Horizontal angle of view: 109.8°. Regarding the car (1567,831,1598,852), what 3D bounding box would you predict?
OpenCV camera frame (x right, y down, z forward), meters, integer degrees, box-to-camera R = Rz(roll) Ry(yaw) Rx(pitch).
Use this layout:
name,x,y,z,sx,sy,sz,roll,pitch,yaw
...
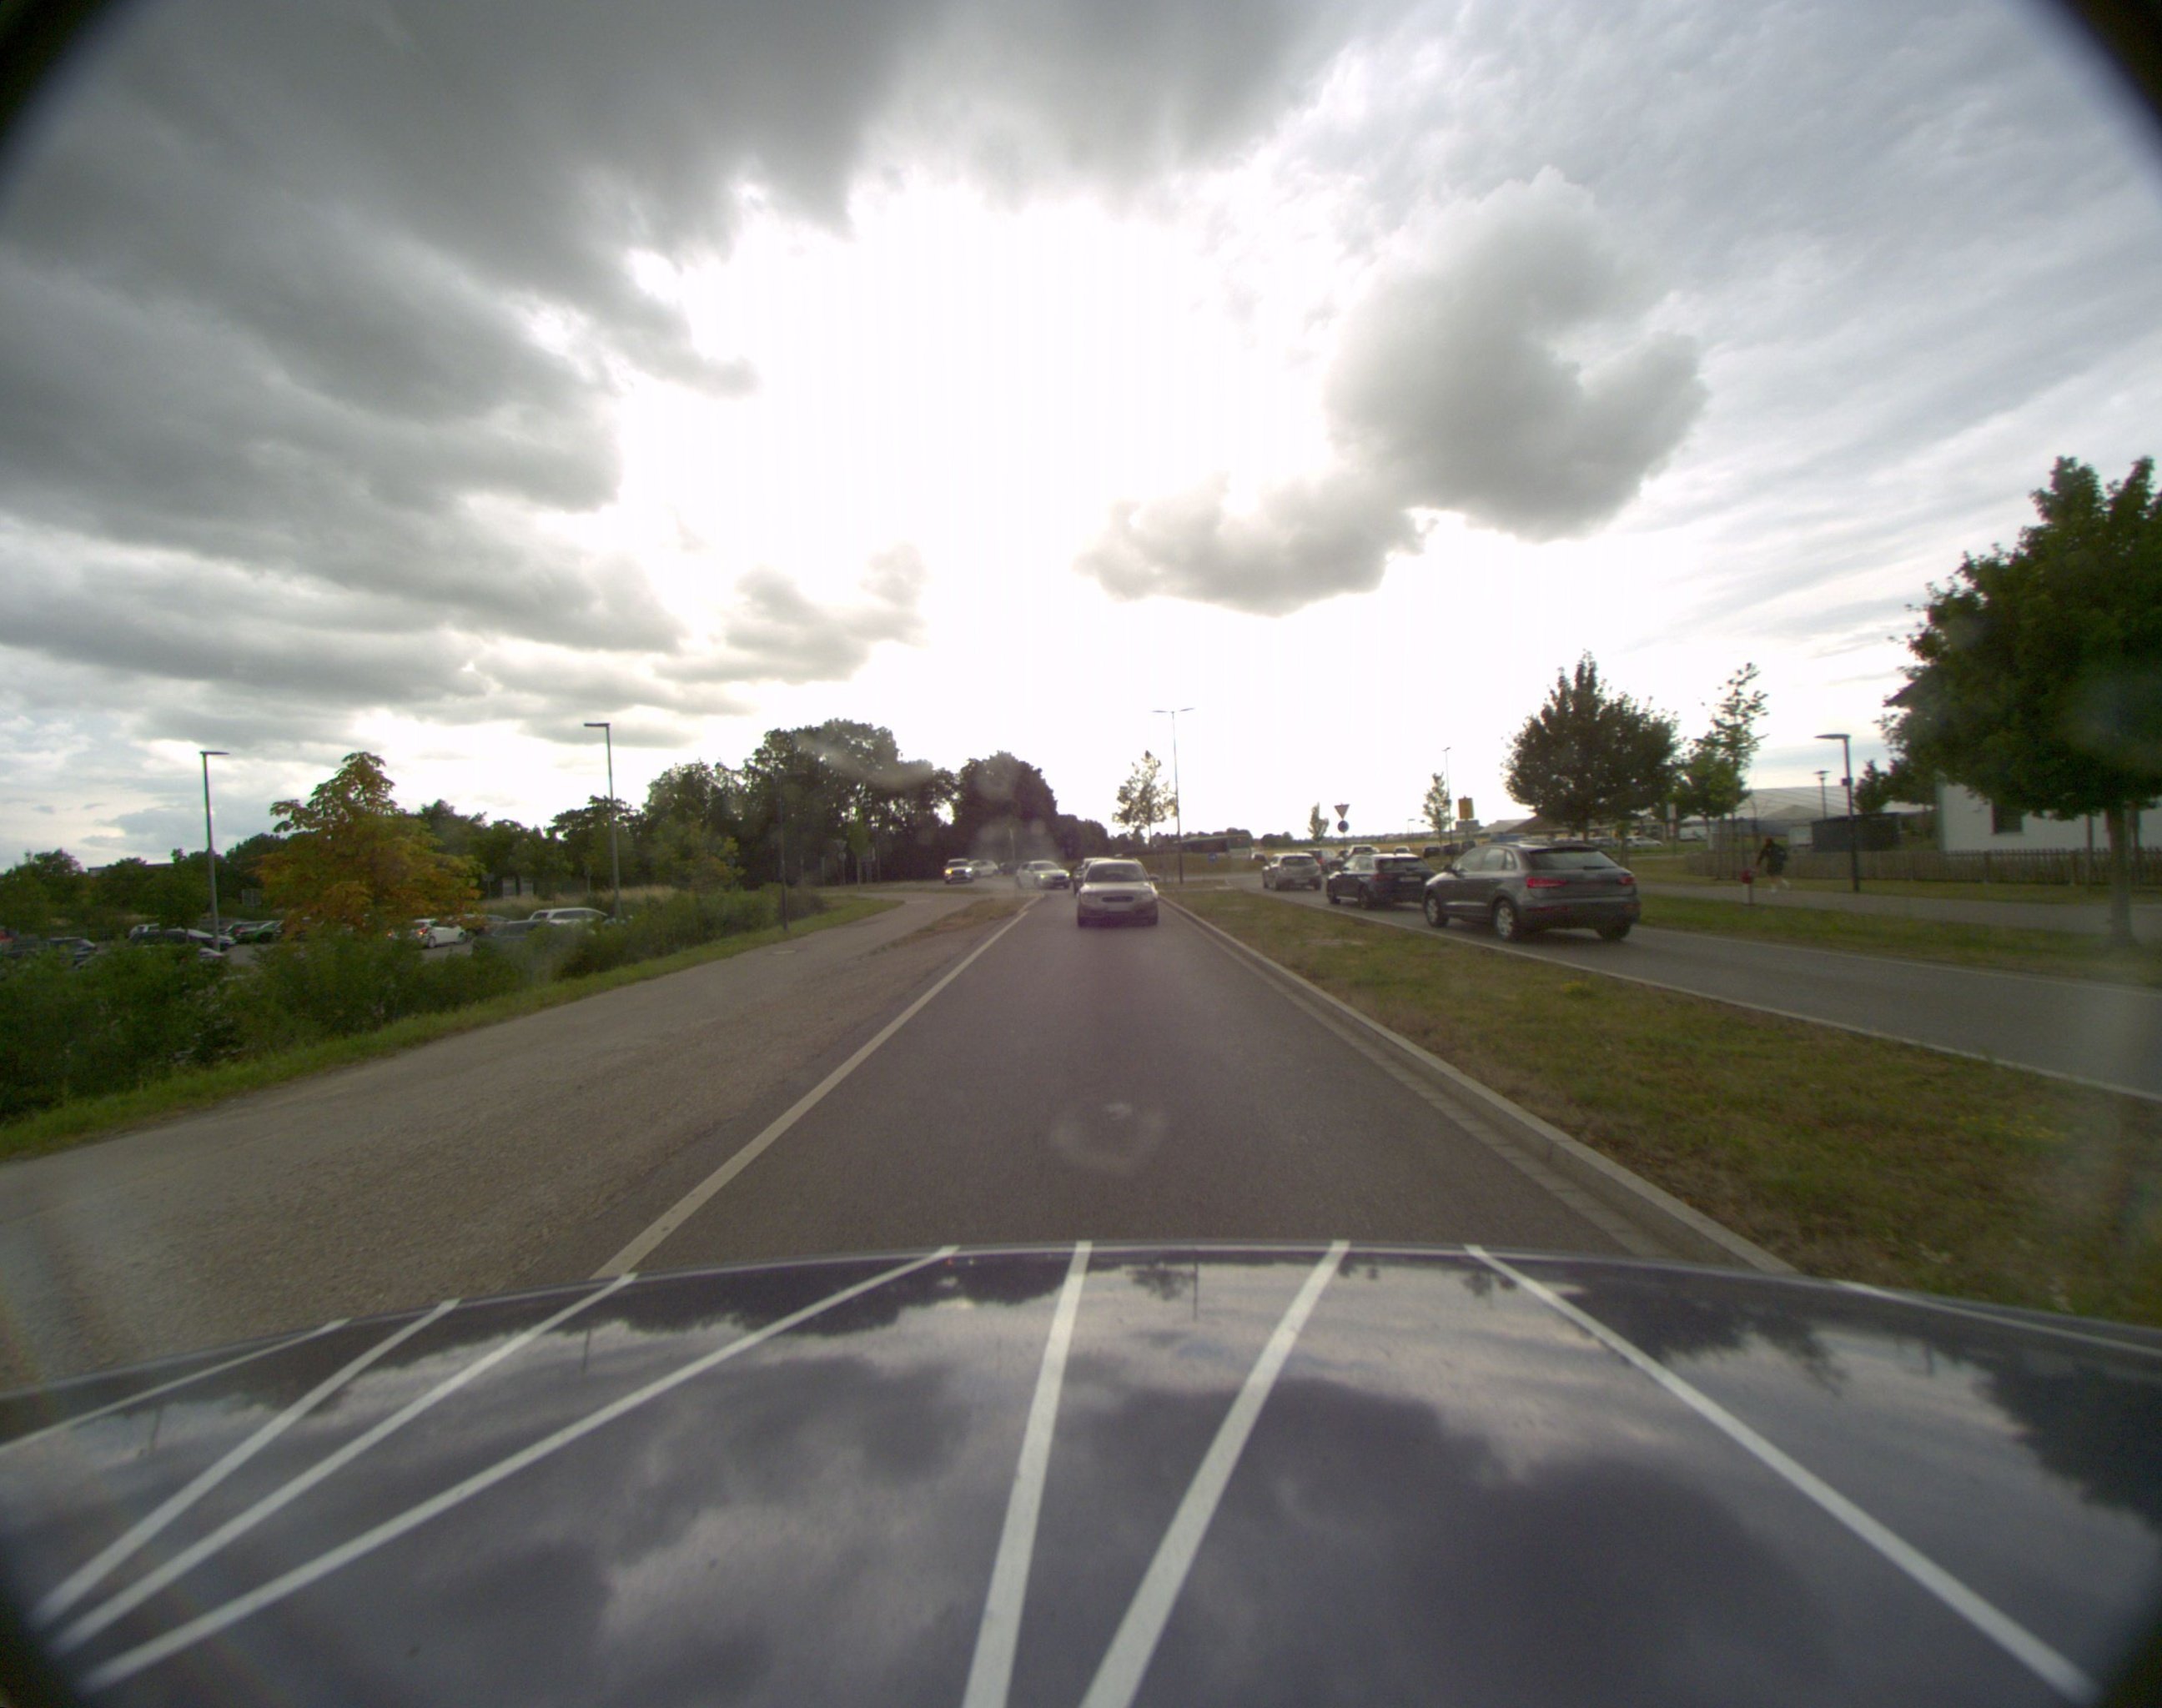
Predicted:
name,x,y,z,sx,sy,sz,roll,pitch,yaw
car,50.133,-1.218,76.087,2.227,2.002,4.007,-1,0,28

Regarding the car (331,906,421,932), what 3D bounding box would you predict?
name,x,y,z,sx,sy,sz,roll,pitch,yaw
car,-46.675,4.266,50.376,1.697,1.352,4.007,-1,0,28

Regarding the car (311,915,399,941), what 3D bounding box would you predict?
name,x,y,z,sx,sy,sz,roll,pitch,yaw
car,-49.485,5.026,51.875,1.697,1.352,4.007,-1,0,28

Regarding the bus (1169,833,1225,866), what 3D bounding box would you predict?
name,x,y,z,sx,sy,sz,roll,pitch,yaw
bus,12.255,-0.467,80.967,2.996,3.261,6.691,-2,0,-19

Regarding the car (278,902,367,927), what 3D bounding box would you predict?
name,x,y,z,sx,sy,sz,roll,pitch,yaw
car,-52.237,4.149,52.420,1.697,1.352,4.007,-1,0,28

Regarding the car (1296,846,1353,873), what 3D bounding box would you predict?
name,x,y,z,sx,sy,sz,roll,pitch,yaw
car,14.178,0.303,44.073,1.826,1.480,4.346,-1,0,37

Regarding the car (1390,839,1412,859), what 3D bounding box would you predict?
name,x,y,z,sx,sy,sz,roll,pitch,yaw
car,34.765,-0.562,82.414,1.995,2.002,4.007,-1,0,25

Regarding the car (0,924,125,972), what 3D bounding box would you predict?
name,x,y,z,sx,sy,sz,roll,pitch,yaw
car,-48.283,4.429,35.970,3.994,2.002,2.001,-1,0,9

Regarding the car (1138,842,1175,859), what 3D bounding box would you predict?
name,x,y,z,sx,sy,sz,roll,pitch,yaw
car,7.931,-0.408,79.555,1.994,1.674,4.008,-1,0,37

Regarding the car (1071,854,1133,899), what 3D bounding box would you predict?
name,x,y,z,sx,sy,sz,roll,pitch,yaw
car,0.757,0.857,31.262,1.871,1.578,5.059,-3,1,-6

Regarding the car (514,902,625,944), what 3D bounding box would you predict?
name,x,y,z,sx,sy,sz,roll,pitch,yaw
car,-25.434,3.395,37.971,1.697,1.707,4.250,-1,0,28

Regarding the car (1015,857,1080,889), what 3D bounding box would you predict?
name,x,y,z,sx,sy,sz,roll,pitch,yaw
car,-1.829,0.975,40.154,1.873,1.533,4.191,-4,1,-25

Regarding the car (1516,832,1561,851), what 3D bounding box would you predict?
name,x,y,z,sx,sy,sz,roll,pitch,yaw
car,52.257,-1.402,86.861,4.000,2.002,1.999,-1,0,-8

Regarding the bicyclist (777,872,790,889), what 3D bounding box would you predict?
name,x,y,z,sx,sy,sz,roll,pitch,yaw
bicyclist,-21.507,1.898,54.920,0.657,1.236,0.556,-1,1,41

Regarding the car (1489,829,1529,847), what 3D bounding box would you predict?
name,x,y,z,sx,sy,sz,roll,pitch,yaw
car,53.082,-1.991,94.292,4.001,2.002,1.998,-1,0,-12

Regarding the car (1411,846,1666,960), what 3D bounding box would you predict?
name,x,y,z,sx,sy,sz,roll,pitch,yaw
car,7.443,0.695,12.949,1.830,1.573,4.216,-2,0,1

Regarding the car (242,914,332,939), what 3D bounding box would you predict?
name,x,y,z,sx,sy,sz,roll,pitch,yaw
car,-55.292,5.026,52.977,1.697,1.352,4.007,-1,0,28

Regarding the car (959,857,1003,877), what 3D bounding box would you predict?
name,x,y,z,sx,sy,sz,roll,pitch,yaw
car,-8.319,1.056,63.526,1.995,1.510,3.777,-1,0,24

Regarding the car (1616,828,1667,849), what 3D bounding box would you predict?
name,x,y,z,sx,sy,sz,roll,pitch,yaw
car,56.739,-1.516,76.933,4.001,2.002,1.998,-1,0,-12

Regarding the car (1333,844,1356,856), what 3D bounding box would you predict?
name,x,y,z,sx,sy,sz,roll,pitch,yaw
car,29.442,-0.428,84.893,1.995,1.280,4.007,-1,0,25

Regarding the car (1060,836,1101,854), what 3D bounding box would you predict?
name,x,y,z,sx,sy,sz,roll,pitch,yaw
car,-0.048,-0.957,80.072,1.994,1.794,4.781,-1,0,33

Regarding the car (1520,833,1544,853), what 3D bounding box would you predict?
name,x,y,z,sx,sy,sz,roll,pitch,yaw
car,46.792,-1.133,78.909,1.995,2.002,4.007,-1,0,28

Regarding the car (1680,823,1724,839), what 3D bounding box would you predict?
name,x,y,z,sx,sy,sz,roll,pitch,yaw
car,82.075,-3.011,100.448,4.568,2.002,1.998,-1,0,-12

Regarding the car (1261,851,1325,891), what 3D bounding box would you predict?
name,x,y,z,sx,sy,sz,roll,pitch,yaw
car,8.415,0.627,30.431,1.829,1.480,4.218,-1,0,7

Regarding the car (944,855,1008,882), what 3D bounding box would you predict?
name,x,y,z,sx,sy,sz,roll,pitch,yaw
car,-7.243,0.984,52.412,4.003,1.674,1.997,-1,0,-20

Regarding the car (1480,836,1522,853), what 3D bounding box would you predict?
name,x,y,z,sx,sy,sz,roll,pitch,yaw
car,49.849,-1.122,90.235,4.001,2.002,1.998,-1,0,-12

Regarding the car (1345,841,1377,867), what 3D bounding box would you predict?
name,x,y,z,sx,sy,sz,roll,pitch,yaw
car,20.101,-0.013,54.597,1.828,1.712,4.404,-1,1,16

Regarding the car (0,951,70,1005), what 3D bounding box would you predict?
name,x,y,z,sx,sy,sz,roll,pitch,yaw
car,-35.616,4.009,24.312,4.127,1.476,2.001,-1,0,5

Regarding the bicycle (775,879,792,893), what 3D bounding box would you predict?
name,x,y,z,sx,sy,sz,roll,pitch,yaw
bicycle,-21.503,2.329,54.934,1.297,0.956,0.569,-1,0,41

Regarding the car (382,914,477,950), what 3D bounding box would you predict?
name,x,y,z,sx,sy,sz,roll,pitch,yaw
car,-32.371,3.841,37.905,1.845,1.352,3.996,-1,0,-12

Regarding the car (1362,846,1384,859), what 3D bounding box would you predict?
name,x,y,z,sx,sy,sz,roll,pitch,yaw
car,32.092,-0.189,83.394,1.995,1.280,4.007,-1,0,25

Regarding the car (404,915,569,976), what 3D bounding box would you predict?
name,x,y,z,sx,sy,sz,roll,pitch,yaw
car,-19.271,2.952,24.747,3.997,1.696,1.657,-1,0,-1

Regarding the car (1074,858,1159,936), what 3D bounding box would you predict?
name,x,y,z,sx,sy,sz,roll,pitch,yaw
car,0.858,0.895,17.587,1.700,1.458,4.000,-2,1,4

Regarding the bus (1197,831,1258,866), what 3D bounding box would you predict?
name,x,y,z,sx,sy,sz,roll,pitch,yaw
bus,14.288,-0.482,74.651,2.996,3.261,6.474,-2,0,-19

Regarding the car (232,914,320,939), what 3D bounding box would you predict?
name,x,y,z,sx,sy,sz,roll,pitch,yaw
car,-57.758,5.168,54.565,1.697,1.352,4.007,-1,0,28

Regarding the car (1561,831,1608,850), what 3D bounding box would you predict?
name,x,y,z,sx,sy,sz,roll,pitch,yaw
car,54.776,-1.466,82.751,4.001,2.002,1.998,-1,0,-12

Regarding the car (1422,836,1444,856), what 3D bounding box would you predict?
name,x,y,z,sx,sy,sz,roll,pitch,yaw
car,37.591,-0.825,81.100,1.995,2.002,4.007,-1,0,25

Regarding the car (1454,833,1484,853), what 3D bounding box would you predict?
name,x,y,z,sx,sy,sz,roll,pitch,yaw
car,40.273,-1.133,79.004,1.996,2.002,4.005,-1,0,16

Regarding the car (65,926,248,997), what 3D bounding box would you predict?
name,x,y,z,sx,sy,sz,roll,pitch,yaw
car,-28.970,3.335,23.904,3.390,1.696,1.802,-5,0,-1

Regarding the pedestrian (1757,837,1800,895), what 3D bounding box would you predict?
name,x,y,z,sx,sy,sz,roll,pitch,yaw
pedestrian,18.910,0.324,20.615,0.547,1.521,0.586,-4,1,1

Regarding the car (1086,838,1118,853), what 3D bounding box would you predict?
name,x,y,z,sx,sy,sz,roll,pitch,yaw
car,2.601,-1.023,91.858,1.994,1.674,4.008,-1,0,33

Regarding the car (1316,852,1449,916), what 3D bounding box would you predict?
name,x,y,z,sx,sy,sz,roll,pitch,yaw
car,7.829,0.711,20.189,1.830,1.480,4.350,-1,0,1

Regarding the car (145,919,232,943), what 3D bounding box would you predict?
name,x,y,z,sx,sy,sz,roll,pitch,yaw
car,-68.453,5.889,58.322,1.697,1.352,4.007,-1,0,28
